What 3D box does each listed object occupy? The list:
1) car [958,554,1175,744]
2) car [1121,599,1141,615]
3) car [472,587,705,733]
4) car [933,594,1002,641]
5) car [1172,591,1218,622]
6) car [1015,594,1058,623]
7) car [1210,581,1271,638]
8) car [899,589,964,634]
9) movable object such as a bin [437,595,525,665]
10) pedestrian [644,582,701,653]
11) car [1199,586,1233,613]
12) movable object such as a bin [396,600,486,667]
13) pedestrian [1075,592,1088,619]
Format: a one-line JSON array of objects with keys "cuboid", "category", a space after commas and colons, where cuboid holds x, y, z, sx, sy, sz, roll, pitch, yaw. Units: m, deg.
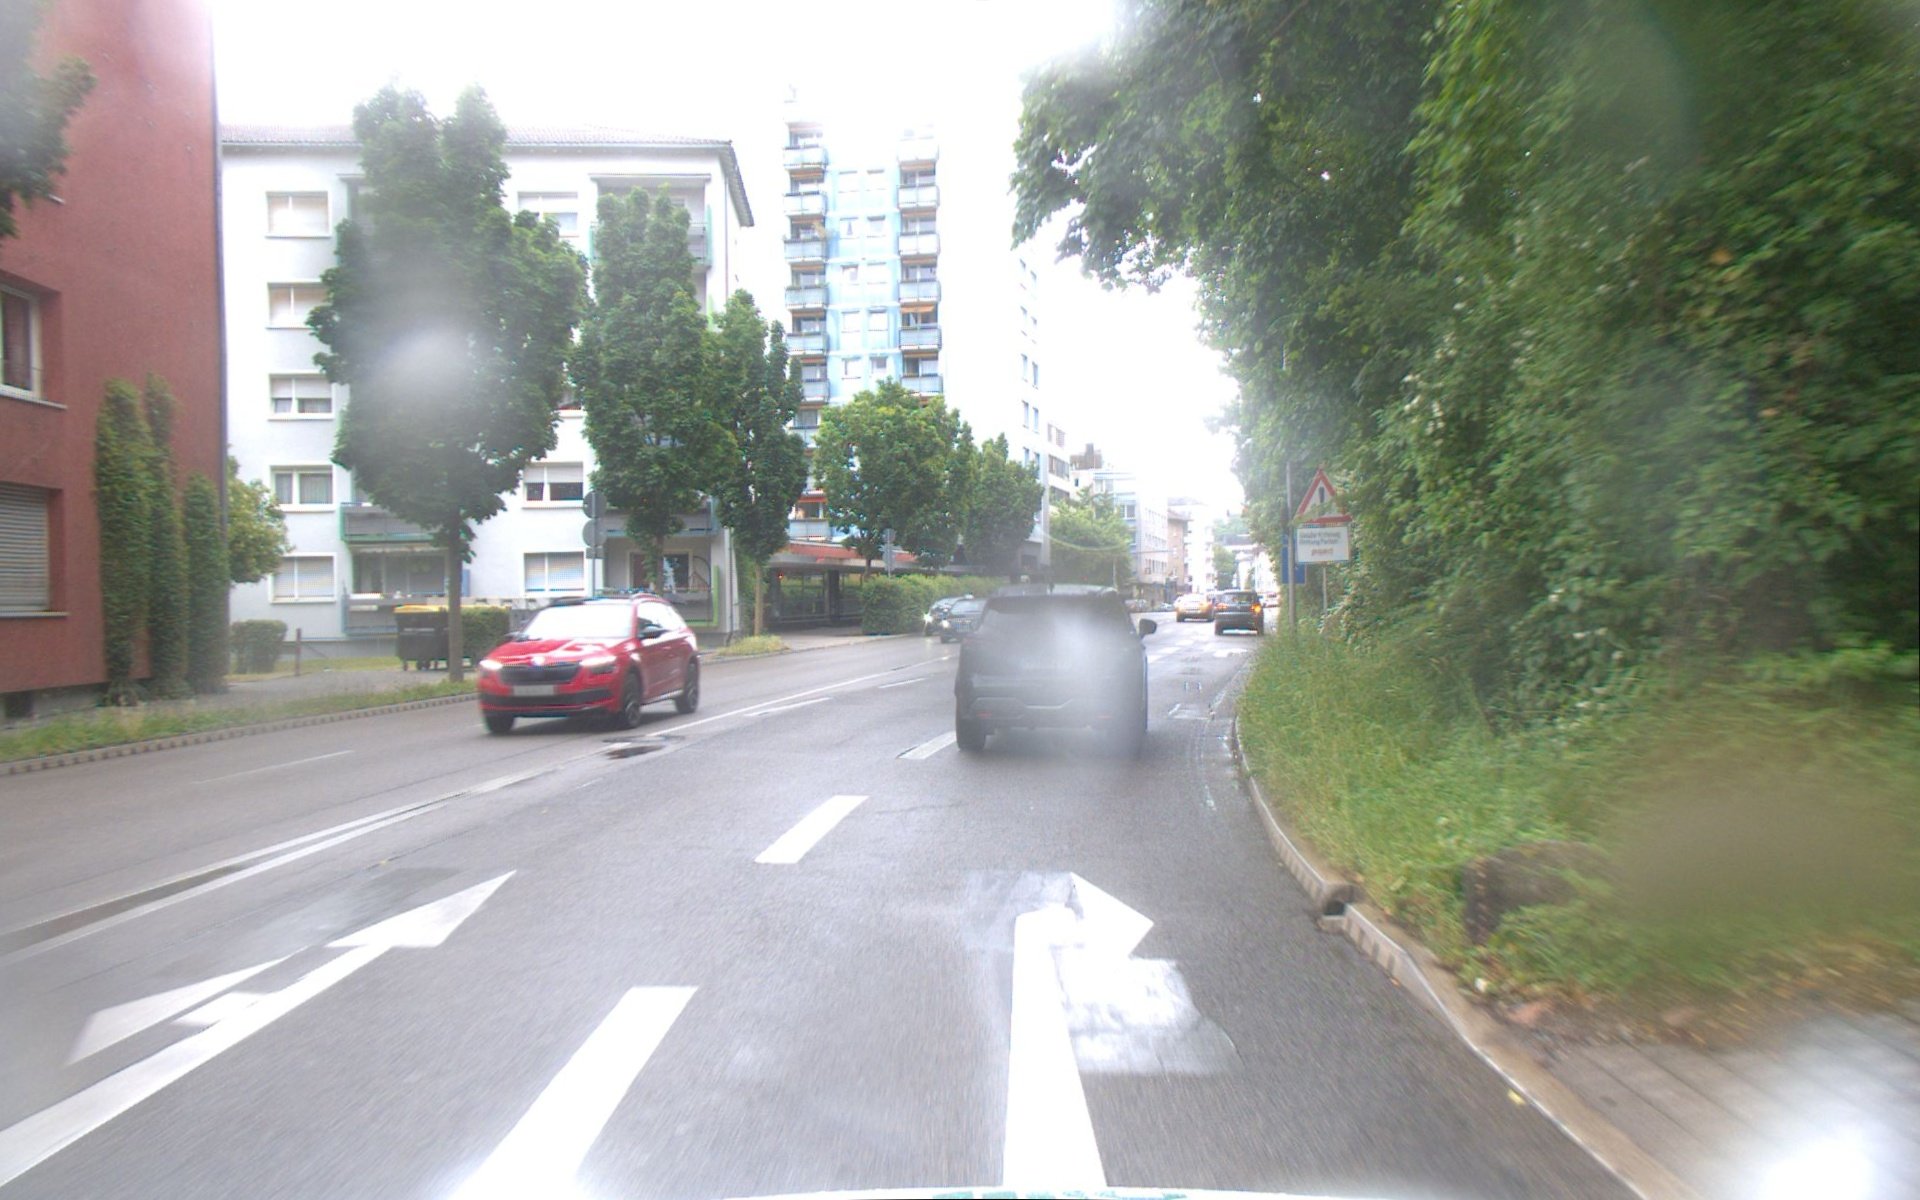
[{"cuboid": [0.970, 0.435, 17.081, 1.920, 1.681, 4.000, -1, 0, -1], "category": "car"}, {"cuboid": [17.551, 0.722, 169.569, 1.637, 1.504, 3.611, -3, 0, 10], "category": "car"}, {"cuboid": [-4.380, 0.637, 20.122, 1.640, 1.590, 4.144, 0, 0, 4], "category": "car"}, {"cuboid": [0.301, 0.551, 54.980, 1.802, 1.409, 4.363, -3, 0, 6], "category": "car"}, {"cuboid": [12.220, 0.323, 85.851, 2.022, 1.489, 4.590, -1, 0, 12], "category": "car"}, {"cuboid": [4.156, 0.426, 89.018, 1.834, 1.415, 4.631, -3, 0, 8], "category": "car"}, {"cuboid": [10.539, 0.329, 61.916, 1.951, 2.049, 4.003, -1, 0, 13], "category": "car"}, {"cuboid": [-1.088, 0.431, 65.258, 1.834, 1.630, 4.468, -3, 0, 8], "category": "car"}, {"cuboid": [-10.875, 0.653, 37.620, 1.189, 1.510, 2.089, -1, 0, 6], "category": "movable object such as a bin"}, {"cuboid": [-7.599, 0.443, 43.778, 1.110, 1.835, 1.264, -1, 0, 8], "category": "pedestrian"}, {"cuboid": [14.715, -0.033, 95.064, 1.706, 1.513, 4.165, -2, 0, 11], "category": "car"}, {"cuboid": [-11.099, 0.698, 35.452, 1.133, 1.354, 1.967, -1, 0, 6], "category": "movable object such as a bin"}, {"cuboid": [9.356, 0.451, 127.156, 0.920, 2.049, 0.887, -2, -1, 3], "category": "pedestrian"}]
